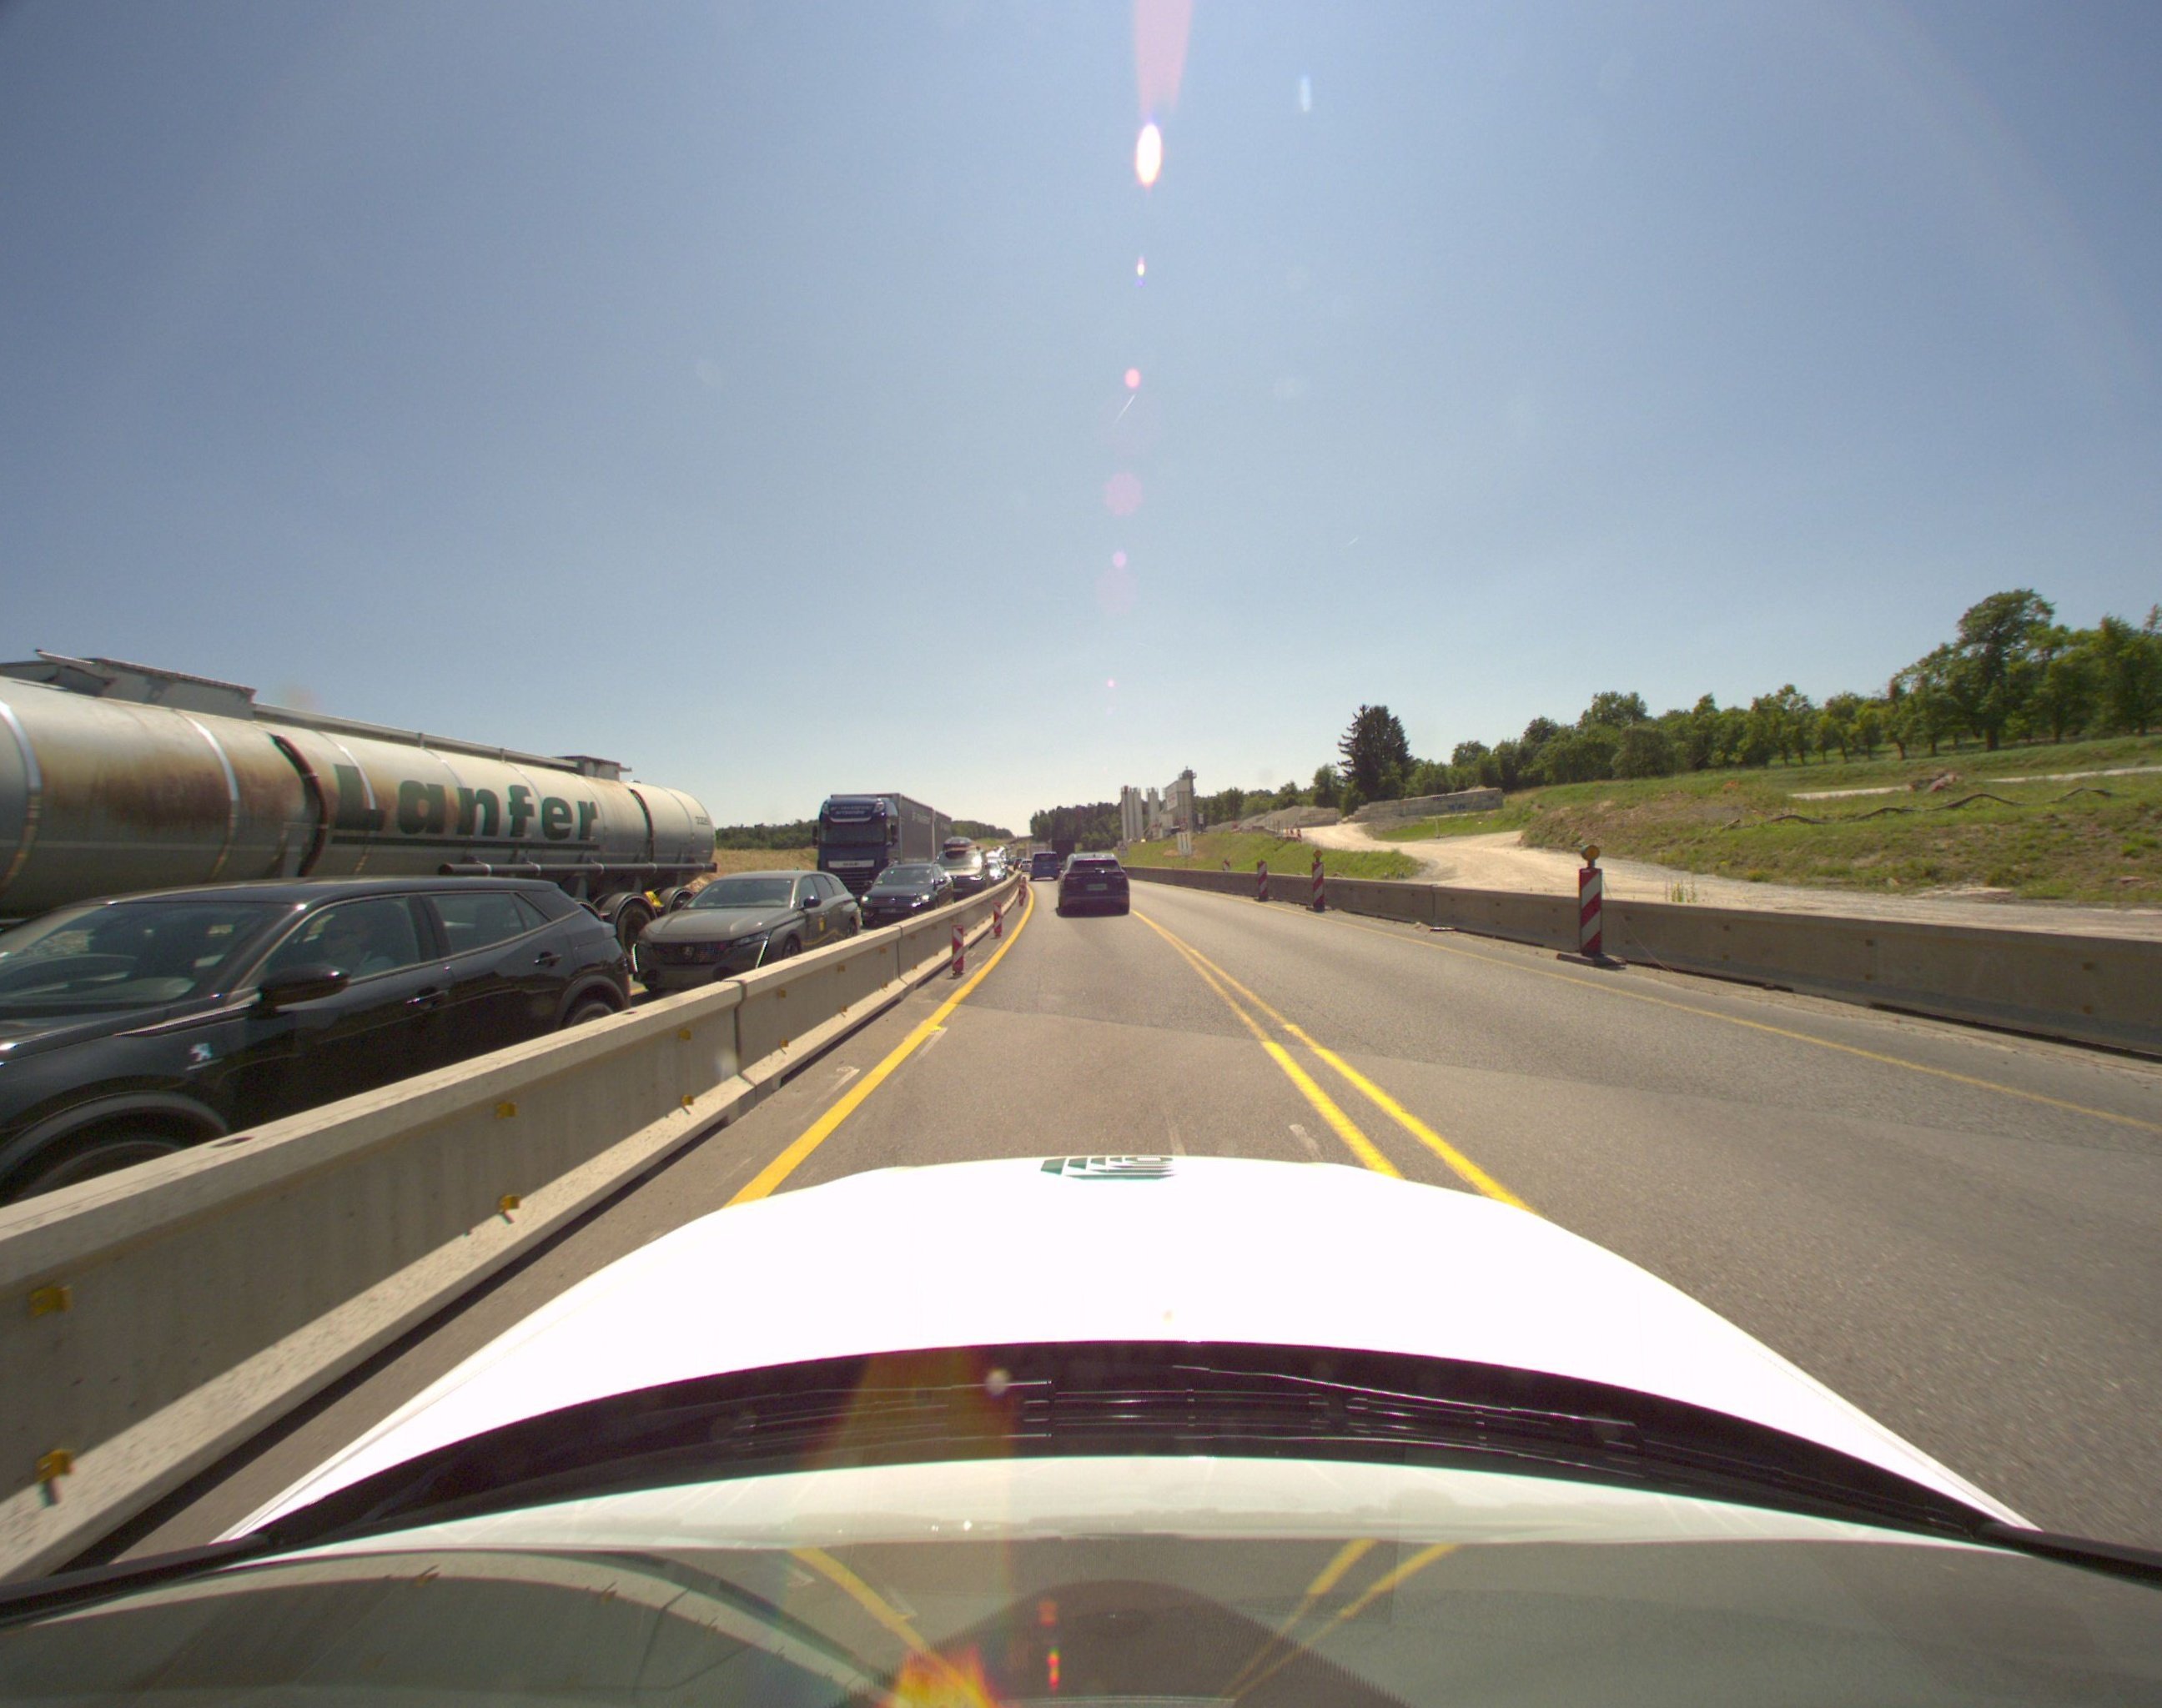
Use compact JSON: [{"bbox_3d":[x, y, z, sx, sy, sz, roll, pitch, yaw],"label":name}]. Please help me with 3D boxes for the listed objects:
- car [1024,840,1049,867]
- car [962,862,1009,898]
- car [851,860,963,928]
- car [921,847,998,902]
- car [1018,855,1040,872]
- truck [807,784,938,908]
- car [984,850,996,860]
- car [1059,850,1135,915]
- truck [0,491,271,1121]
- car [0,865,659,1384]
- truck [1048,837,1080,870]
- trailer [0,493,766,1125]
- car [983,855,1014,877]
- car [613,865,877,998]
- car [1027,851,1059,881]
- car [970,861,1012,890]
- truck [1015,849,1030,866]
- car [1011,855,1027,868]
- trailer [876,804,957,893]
[{"bbox_3d":[-7.076,-0.078,128.359,3.431,4.101,9.179,1,0,-6],"label":"car"},{"bbox_3d":[-4.471,1.198,38.566,1.990,1.530,4.052,-2,0,-4],"label":"car"},{"bbox_3d":[-4.276,0.930,20.784,1.729,1.446,4.797,-2,0,1],"label":"car"},{"bbox_3d":[-4.302,0.699,29.677,2.039,1.777,5.064,-2,0,-1],"label":"car"},{"bbox_3d":[-5.302,0.919,82.287,2.042,1.526,5.056,-4,0,-5],"label":"car"},{"bbox_3d":[-8.076,-0.285,33.286,2.766,4.137,10.860,-2,0,-2],"label":"truck"},{"bbox_3d":[-12.963,0.197,116.194,1.615,1.324,3.687,-2,0,-6],"label":"car"},{"bbox_3d":[0.354,0.716,22.567,1.838,1.582,3.996,-2,0,-2],"label":"car"},{"bbox_3d":[-8.225,-0.264,3.623,2.688,3.969,6.204,-2,0,3],"label":"truck"},{"bbox_3d":[-4.099,0.878,4.064,1.671,1.544,4.120,-2,0,2],"label":"car"},{"bbox_3d":[-1.774,-0.020,80.918,2.669,2.945,5.611,-4,0,-5],"label":"truck"},{"bbox_3d":[-7.839,-0.263,10.154,2.693,3.978,11.254,-2,0,3],"label":"trailer"},{"bbox_3d":[-6.437,0.908,64.075,2.040,1.526,5.061,-2,0,-2],"label":"car"},{"bbox_3d":[-4.464,0.925,11.759,1.729,1.416,4.797,-2,0,1],"label":"car"},{"bbox_3d":[-2.554,0.772,54.482,1.990,1.844,3.994,-2,0,-4],"label":"car"},{"bbox_3d":[-5.208,1.214,47.925,2.040,1.526,5.061,-2,0,-2],"label":"car"},{"bbox_3d":[-14.629,0.875,202.582,3.470,4.220,10.358,-1,0,-5],"label":"truck"},{"bbox_3d":[-8.212,1.028,107.728,1.820,1.644,3.855,-2,0,-8],"label":"car"},{"bbox_3d":[-8.449,-0.267,42.799,2.730,4.137,8.178,-2,0,-2],"label":"trailer"}]
